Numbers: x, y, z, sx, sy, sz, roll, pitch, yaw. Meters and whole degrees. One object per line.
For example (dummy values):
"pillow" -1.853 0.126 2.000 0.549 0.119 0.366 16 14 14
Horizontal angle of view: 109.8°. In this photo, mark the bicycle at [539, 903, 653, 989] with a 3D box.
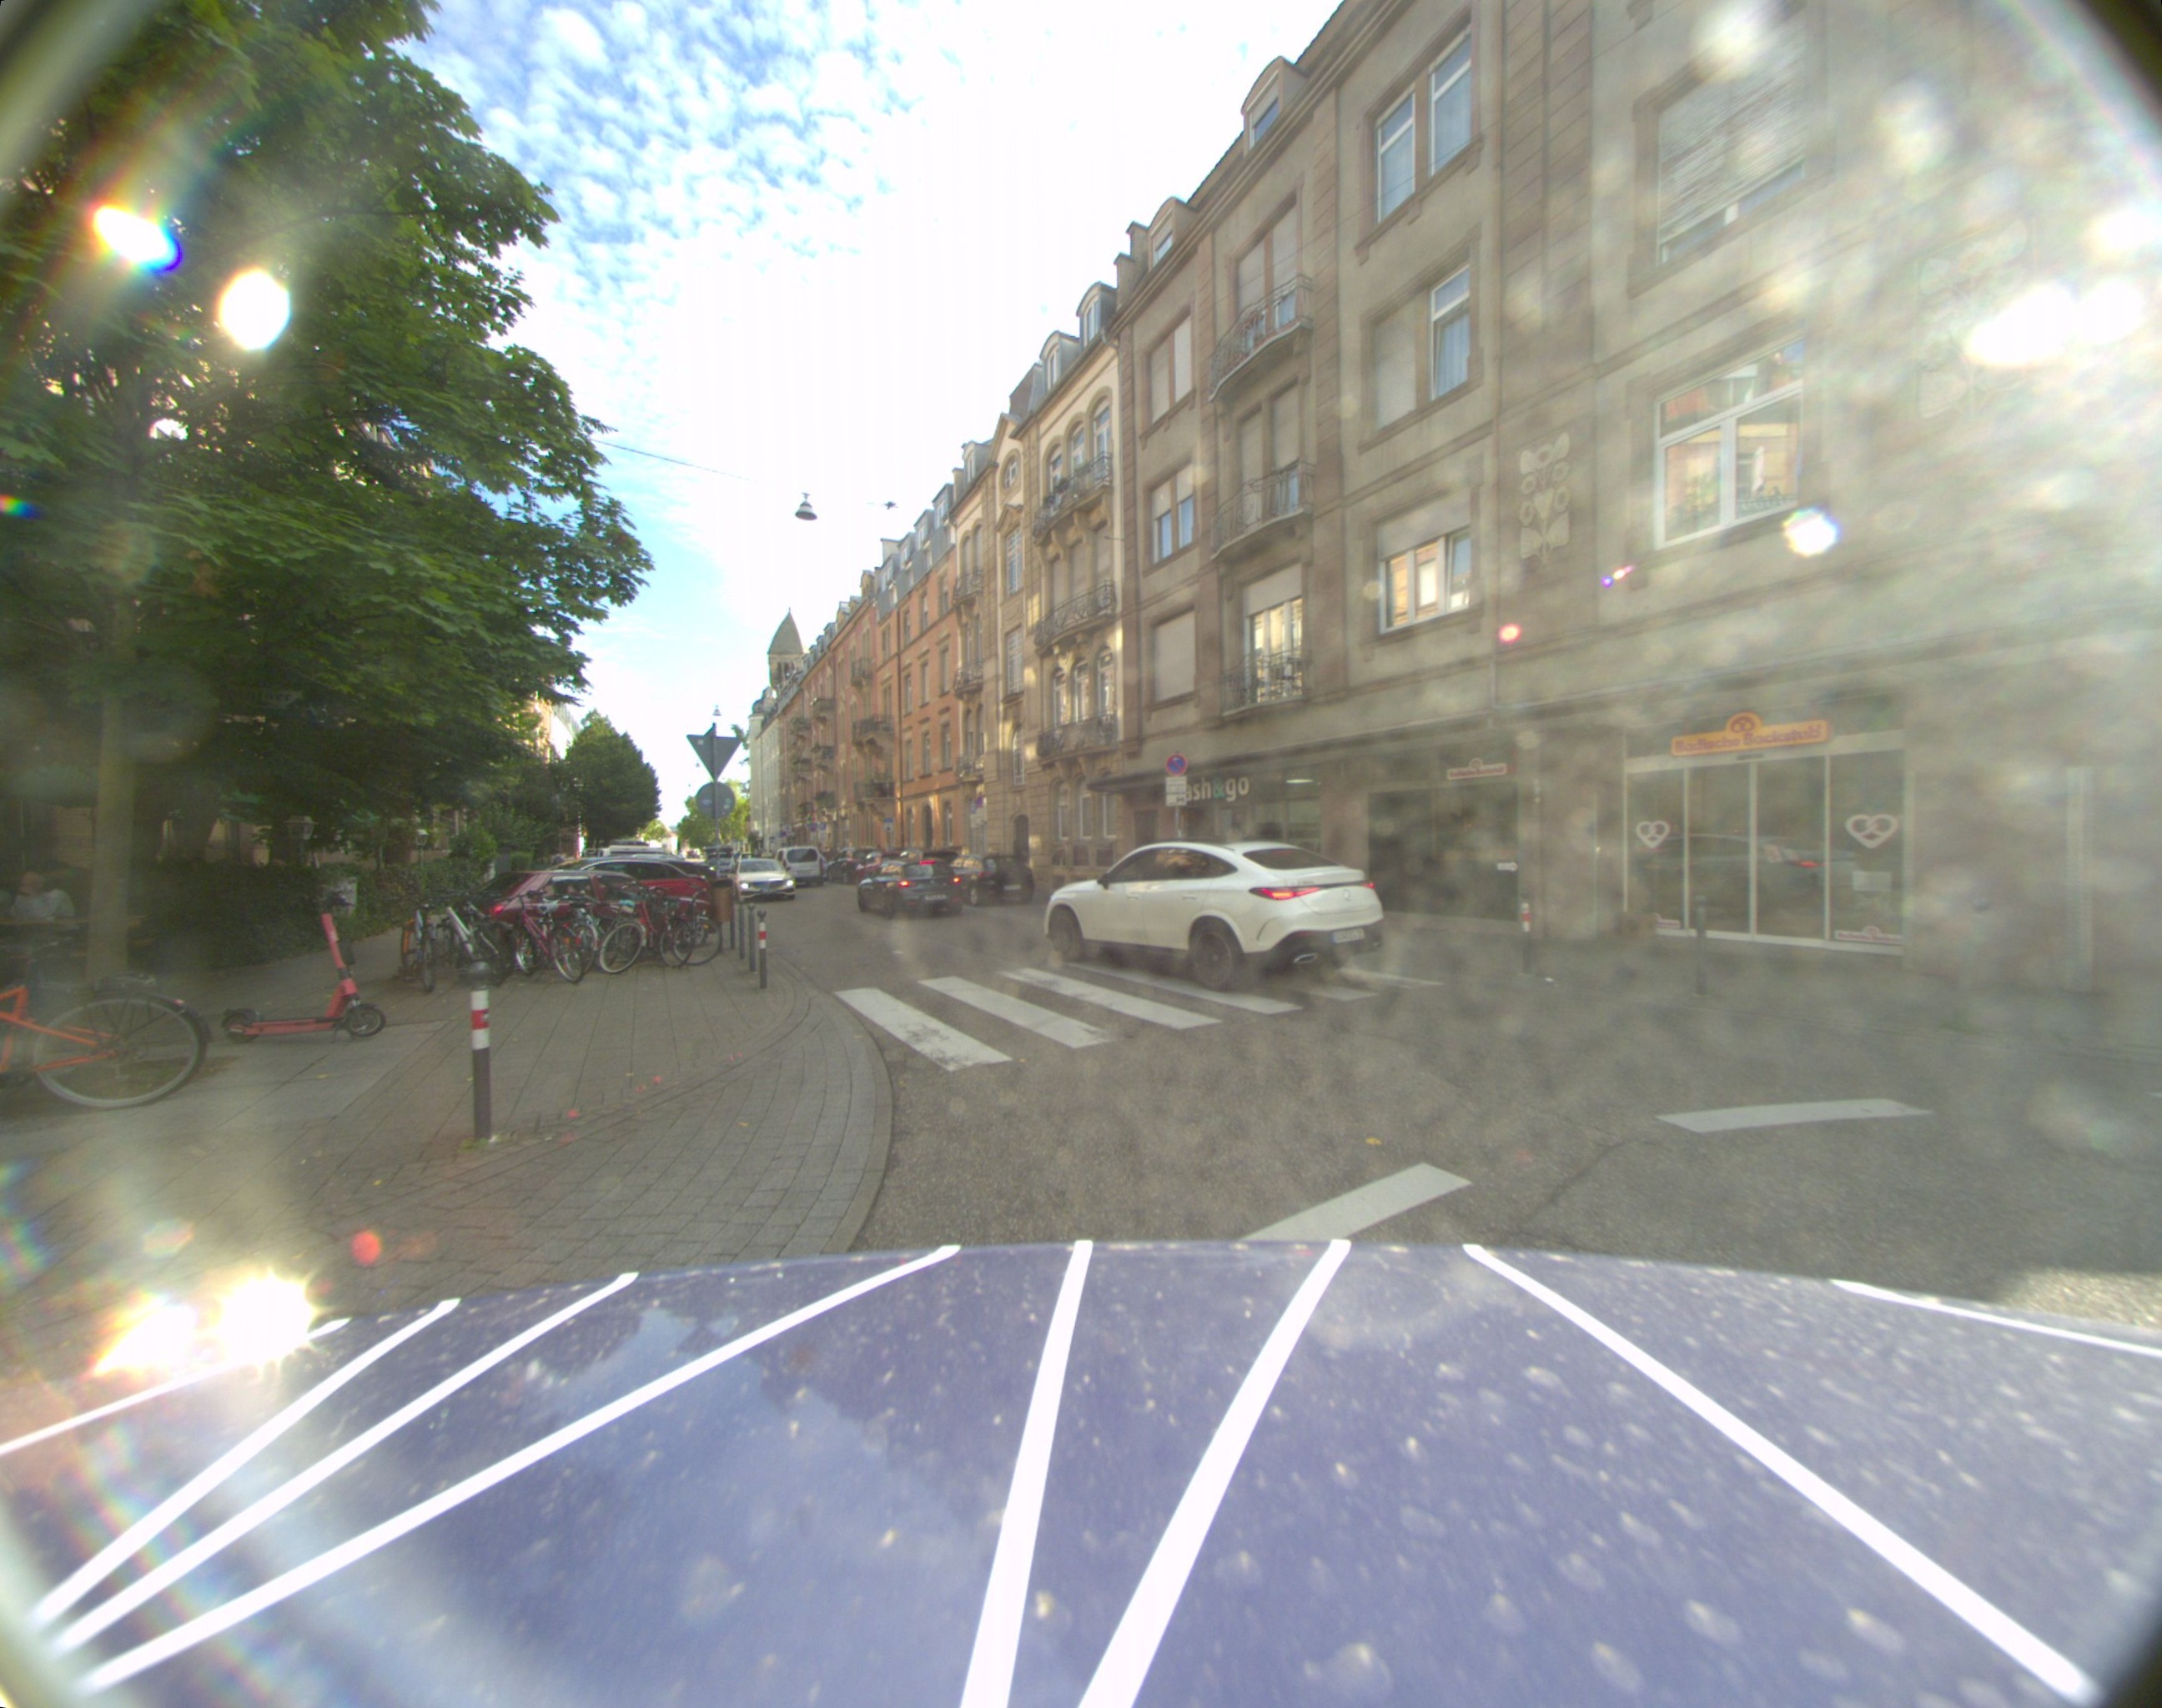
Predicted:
"bicycle" -6.500 1.190 10.149 1.860 0.979 0.473 1 0 30

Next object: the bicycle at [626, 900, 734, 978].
"bicycle" -5.899 1.207 11.140 1.860 0.979 0.473 1 0 30

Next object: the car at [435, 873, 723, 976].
"car" -7.967 1.023 12.350 1.509 1.372 3.596 0 -1 36

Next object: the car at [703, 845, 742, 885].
"car" -19.291 0.550 40.859 1.796 2.051 3.991 -2 1 -26

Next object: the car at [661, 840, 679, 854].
"car" -58.414 -0.977 108.110 2.002 1.878 3.991 -3 2 -27

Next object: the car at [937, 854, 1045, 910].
"car" -2.674 0.729 21.733 1.727 1.361 3.820 -3 2 -28

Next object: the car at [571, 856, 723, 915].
"car" -12.778 0.886 22.548 1.509 1.602 3.596 0 -1 38

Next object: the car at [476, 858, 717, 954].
"car" -9.183 0.898 14.639 1.509 1.605 3.596 0 -1 38

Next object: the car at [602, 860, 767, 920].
"car" -10.459 0.900 20.232 1.509 1.456 3.596 0 -1 38

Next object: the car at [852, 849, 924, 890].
"car" -7.967 0.602 31.136 1.765 1.488 4.123 -3 2 -30

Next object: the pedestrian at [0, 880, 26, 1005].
"pedestrian" -11.931 0.959 8.272 0.620 1.320 0.468 1 2 37

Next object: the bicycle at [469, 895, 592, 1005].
"bicycle" -6.588 1.097 9.068 1.834 1.136 0.476 1 0 30

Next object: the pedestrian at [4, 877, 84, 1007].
"pedestrian" -11.259 0.932 8.266 0.620 1.320 0.468 1 2 37

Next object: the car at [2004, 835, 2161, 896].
"car" 28.588 0.300 20.928 1.769 1.543 3.989 -4 2 -38

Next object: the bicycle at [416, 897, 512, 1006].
"bicycle" -7.312 1.104 8.983 1.670 1.094 0.476 1 0 37

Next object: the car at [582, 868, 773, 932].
"car" -9.229 0.988 17.612 1.509 1.315 3.596 0 -1 38

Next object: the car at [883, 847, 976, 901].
"car" -5.280 0.603 26.102 1.865 1.576 4.388 -3 2 -28

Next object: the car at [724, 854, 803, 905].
"car" -11.470 0.837 27.235 1.948 1.588 4.824 -3 2 -30

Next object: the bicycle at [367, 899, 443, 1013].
"bicycle" -7.652 1.098 8.581 1.670 1.094 0.435 1 0 41

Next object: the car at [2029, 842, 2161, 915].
"car" 24.755 0.538 17.274 1.769 1.543 3.989 -4 2 -38

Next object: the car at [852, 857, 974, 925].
"car" -4.398 0.844 19.341 1.773 1.374 4.440 -4 2 -29

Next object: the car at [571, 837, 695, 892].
"car" -21.796 0.451 37.182 1.995 2.409 4.746 -1 2 29

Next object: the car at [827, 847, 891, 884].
"car" -10.512 0.513 35.793 1.765 1.589 4.331 -3 2 -32

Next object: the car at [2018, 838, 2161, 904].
"car" 26.792 0.414 19.135 1.769 1.543 3.989 -4 2 -38

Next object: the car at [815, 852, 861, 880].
"car" -12.984 0.603 40.438 1.628 1.371 3.753 -2 1 -28

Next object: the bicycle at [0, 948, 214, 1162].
"bicycle" -6.261 1.133 4.156 1.860 1.029 0.682 -1 1 -29

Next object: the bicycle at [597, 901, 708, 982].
"bicycle" -6.064 1.202 10.720 1.860 0.979 0.473 1 0 30

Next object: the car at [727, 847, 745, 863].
"car" -42.091 0.102 92.645 1.730 1.922 4.002 -2 1 -28

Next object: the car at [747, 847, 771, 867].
"car" -29.931 0.292 70.587 1.688 1.775 4.011 -2 1 -28

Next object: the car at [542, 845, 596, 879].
"car" -29.925 0.442 44.510 1.737 1.792 3.992 -3 1 -22

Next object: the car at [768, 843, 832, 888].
"car" -13.097 0.498 35.222 1.948 1.869 4.824 -3 2 -30

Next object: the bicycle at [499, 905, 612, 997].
"bicycle" -6.631 1.176 9.550 1.834 0.979 0.419 1 0 30

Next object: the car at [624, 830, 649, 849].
"car" -44.278 -1.423 75.649 1.854 1.724 3.990 -3 2 -34

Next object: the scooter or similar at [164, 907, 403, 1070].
"scooter or similar" -6.426 1.059 6.171 1.292 1.203 0.556 -1 0 -4

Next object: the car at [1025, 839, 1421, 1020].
"car" 1.414 0.714 9.533 2.003 1.625 4.831 -2 1 -35

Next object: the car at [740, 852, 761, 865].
"car" -34.557 0.458 79.345 1.628 1.371 3.753 -2 1 -28
